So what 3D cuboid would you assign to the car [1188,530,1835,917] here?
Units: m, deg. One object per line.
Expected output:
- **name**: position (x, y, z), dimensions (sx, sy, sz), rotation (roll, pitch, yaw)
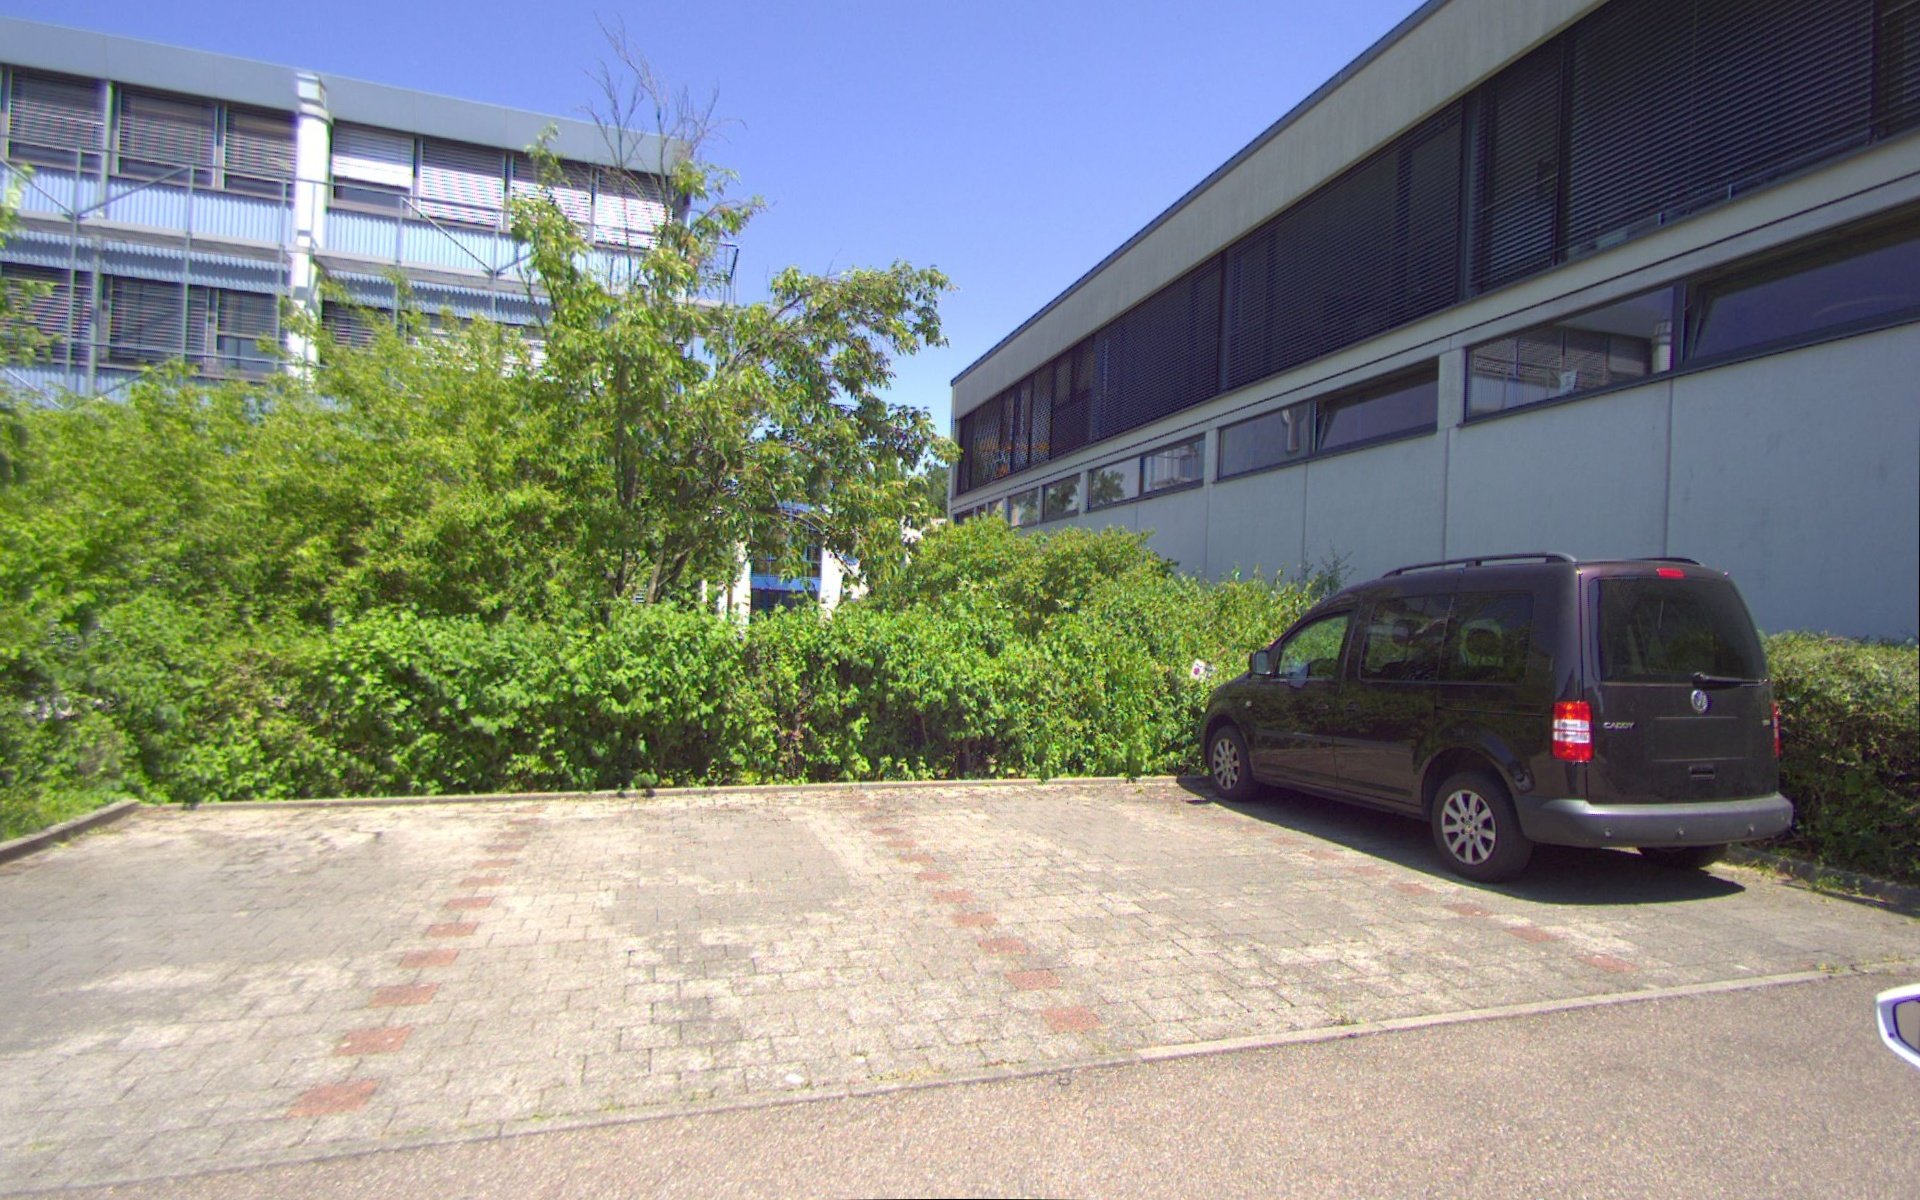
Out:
- **car**: position (3.375, 0.641, 7.153), dimensions (1.651, 1.909, 4.058), rotation (2, -1, -16)
